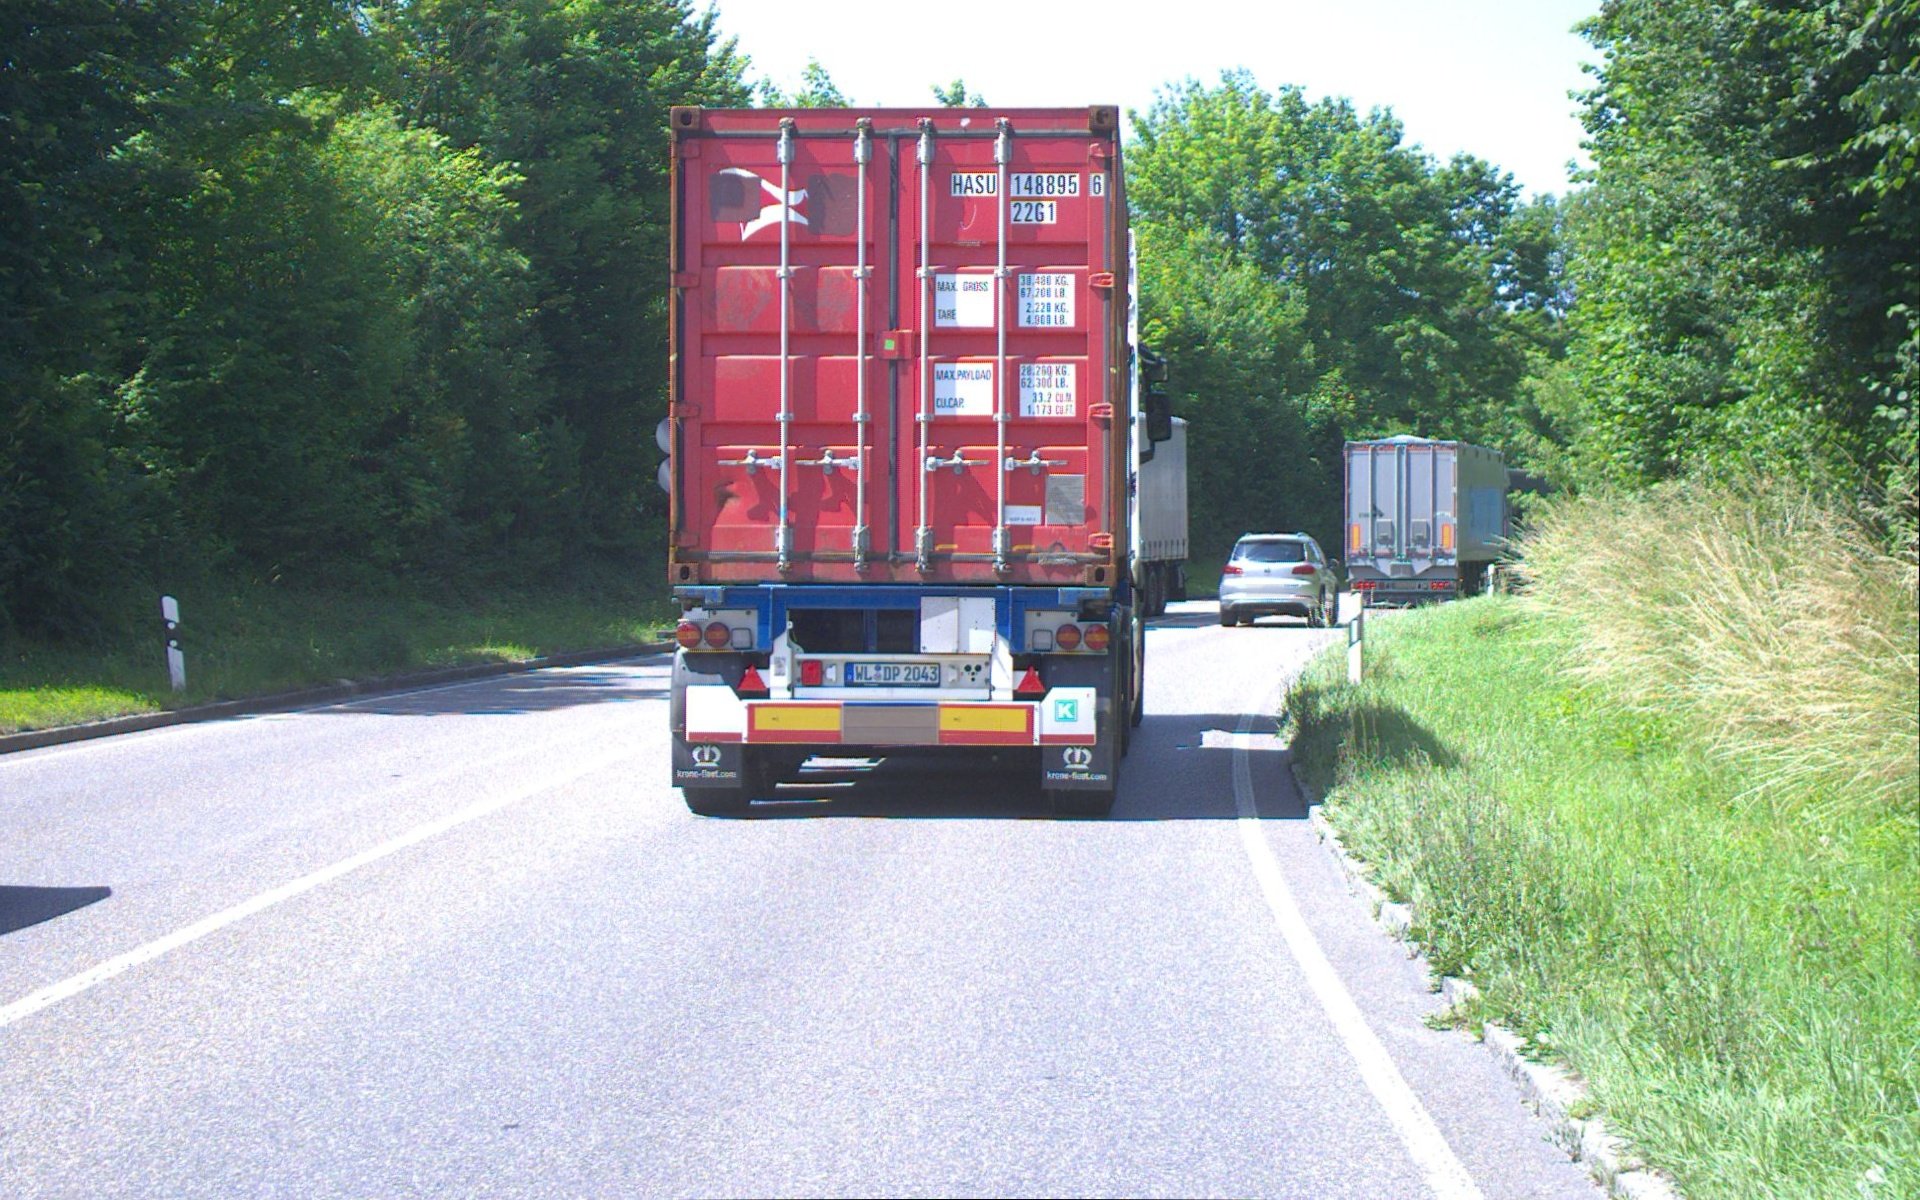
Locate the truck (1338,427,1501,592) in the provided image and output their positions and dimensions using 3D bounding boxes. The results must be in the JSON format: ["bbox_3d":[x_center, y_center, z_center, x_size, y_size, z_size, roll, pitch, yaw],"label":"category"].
[{"bbox_3d":[11.393,-2.169,84.121,2.923,3.704,13.353,0,1,12],"label":"truck"}]

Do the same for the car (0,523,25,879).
[{"bbox_3d":[-5.023,0.462,13.059,1.683,1.524,4.070,0,1,3],"label":"car"}]

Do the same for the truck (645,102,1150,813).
[{"bbox_3d":[0.028,-0.848,25.081,2.648,3.793,13.358,0,1,3],"label":"truck"}]

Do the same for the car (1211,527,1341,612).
[{"bbox_3d":[5.778,-0.557,62.484,1.833,1.428,3.998,-2,0,12],"label":"car"}]

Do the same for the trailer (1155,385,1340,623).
[{"bbox_3d":[5.657,-1.765,66.016,2.922,4.168,11.261,0,1,8],"label":"trailer"}]
